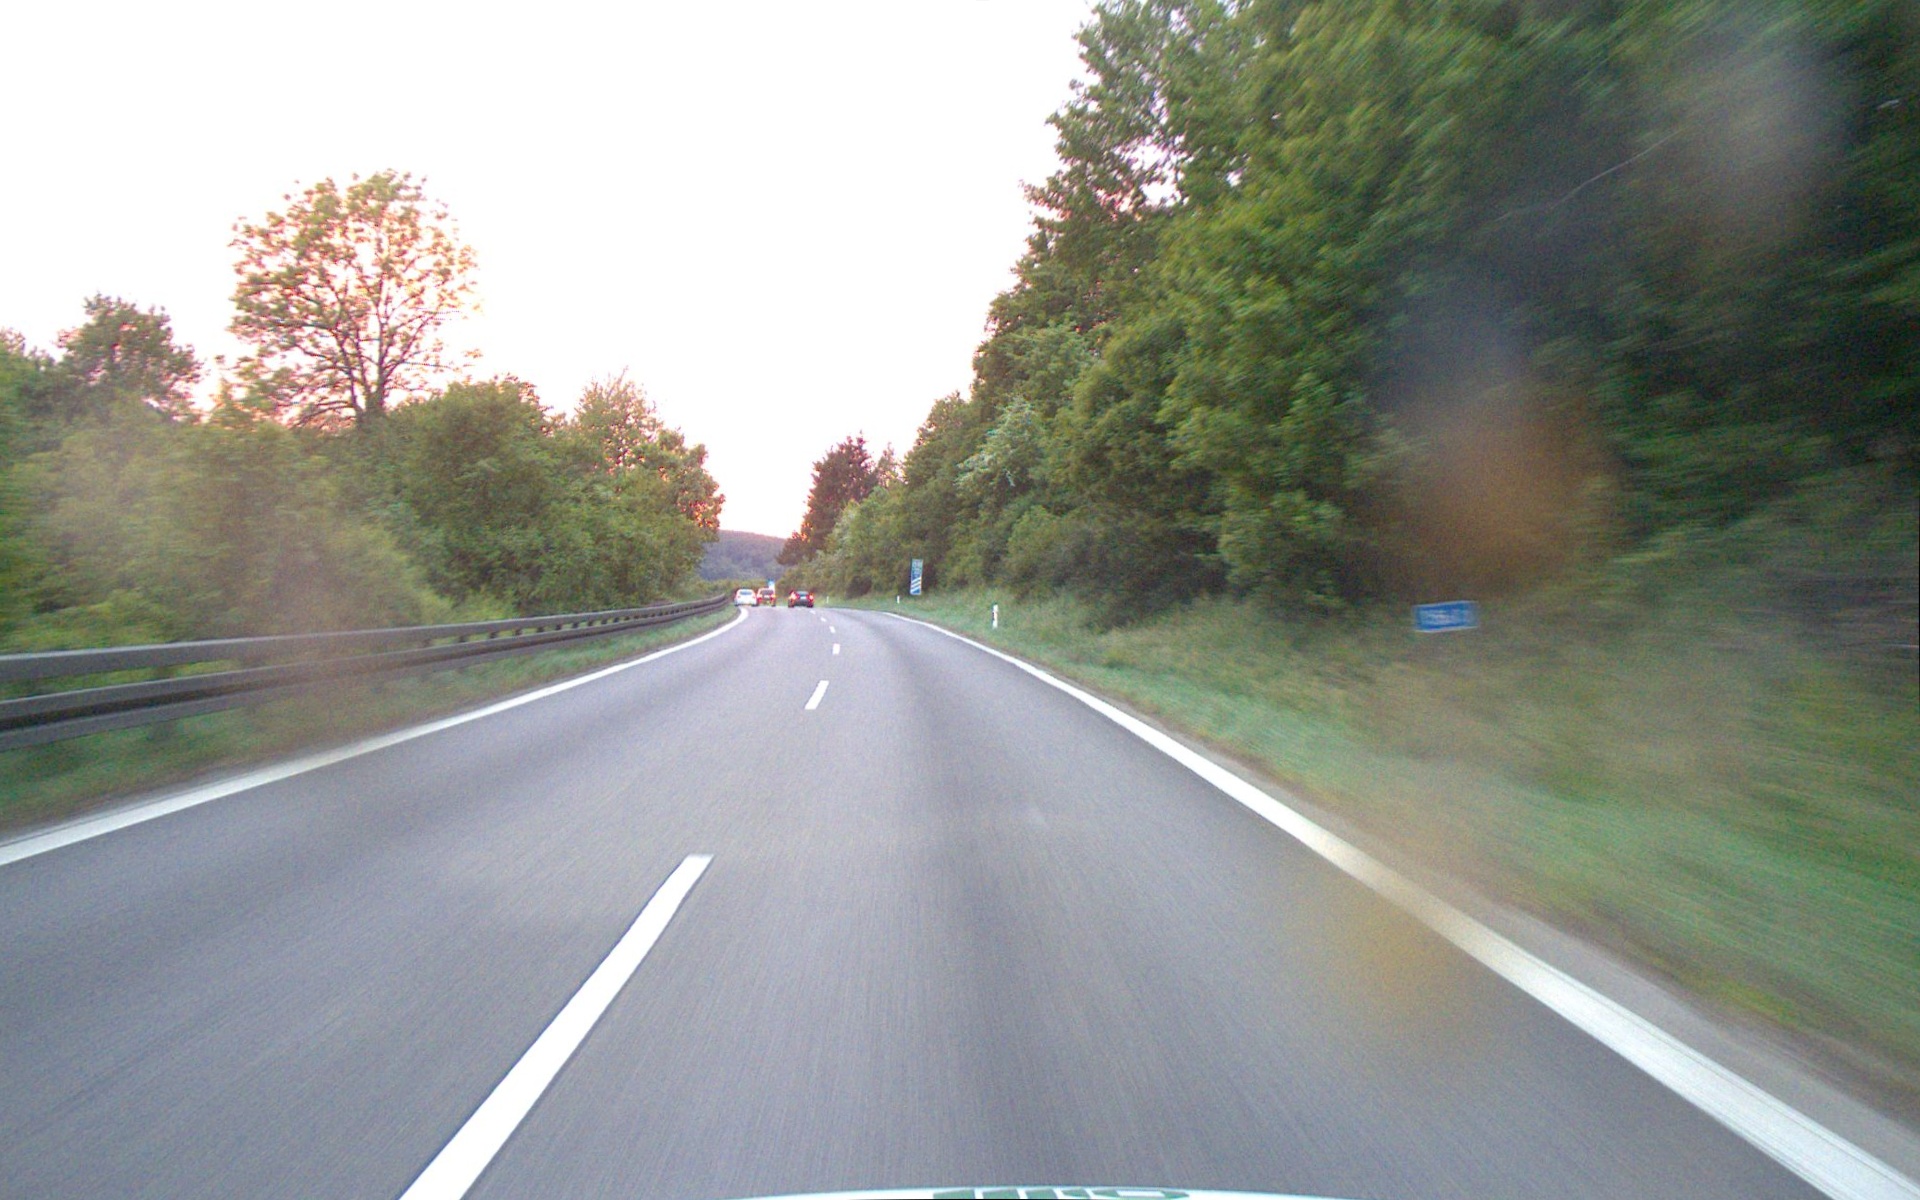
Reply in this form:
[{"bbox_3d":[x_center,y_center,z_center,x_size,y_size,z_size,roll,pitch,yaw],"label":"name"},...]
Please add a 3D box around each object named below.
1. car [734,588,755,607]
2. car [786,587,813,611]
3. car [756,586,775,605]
[{"bbox_3d":[-18.875,-0.188,144.938,1.685,1.528,3.994,2,-2,-6],"label":"car"},{"bbox_3d":[-13.342,-0.071,137.188,1.956,1.675,3.991,4,-3,-8],"label":"car"},{"bbox_3d":[-18.247,-0.410,155.069,1.685,1.664,3.994,0,0,-7],"label":"car"}]
